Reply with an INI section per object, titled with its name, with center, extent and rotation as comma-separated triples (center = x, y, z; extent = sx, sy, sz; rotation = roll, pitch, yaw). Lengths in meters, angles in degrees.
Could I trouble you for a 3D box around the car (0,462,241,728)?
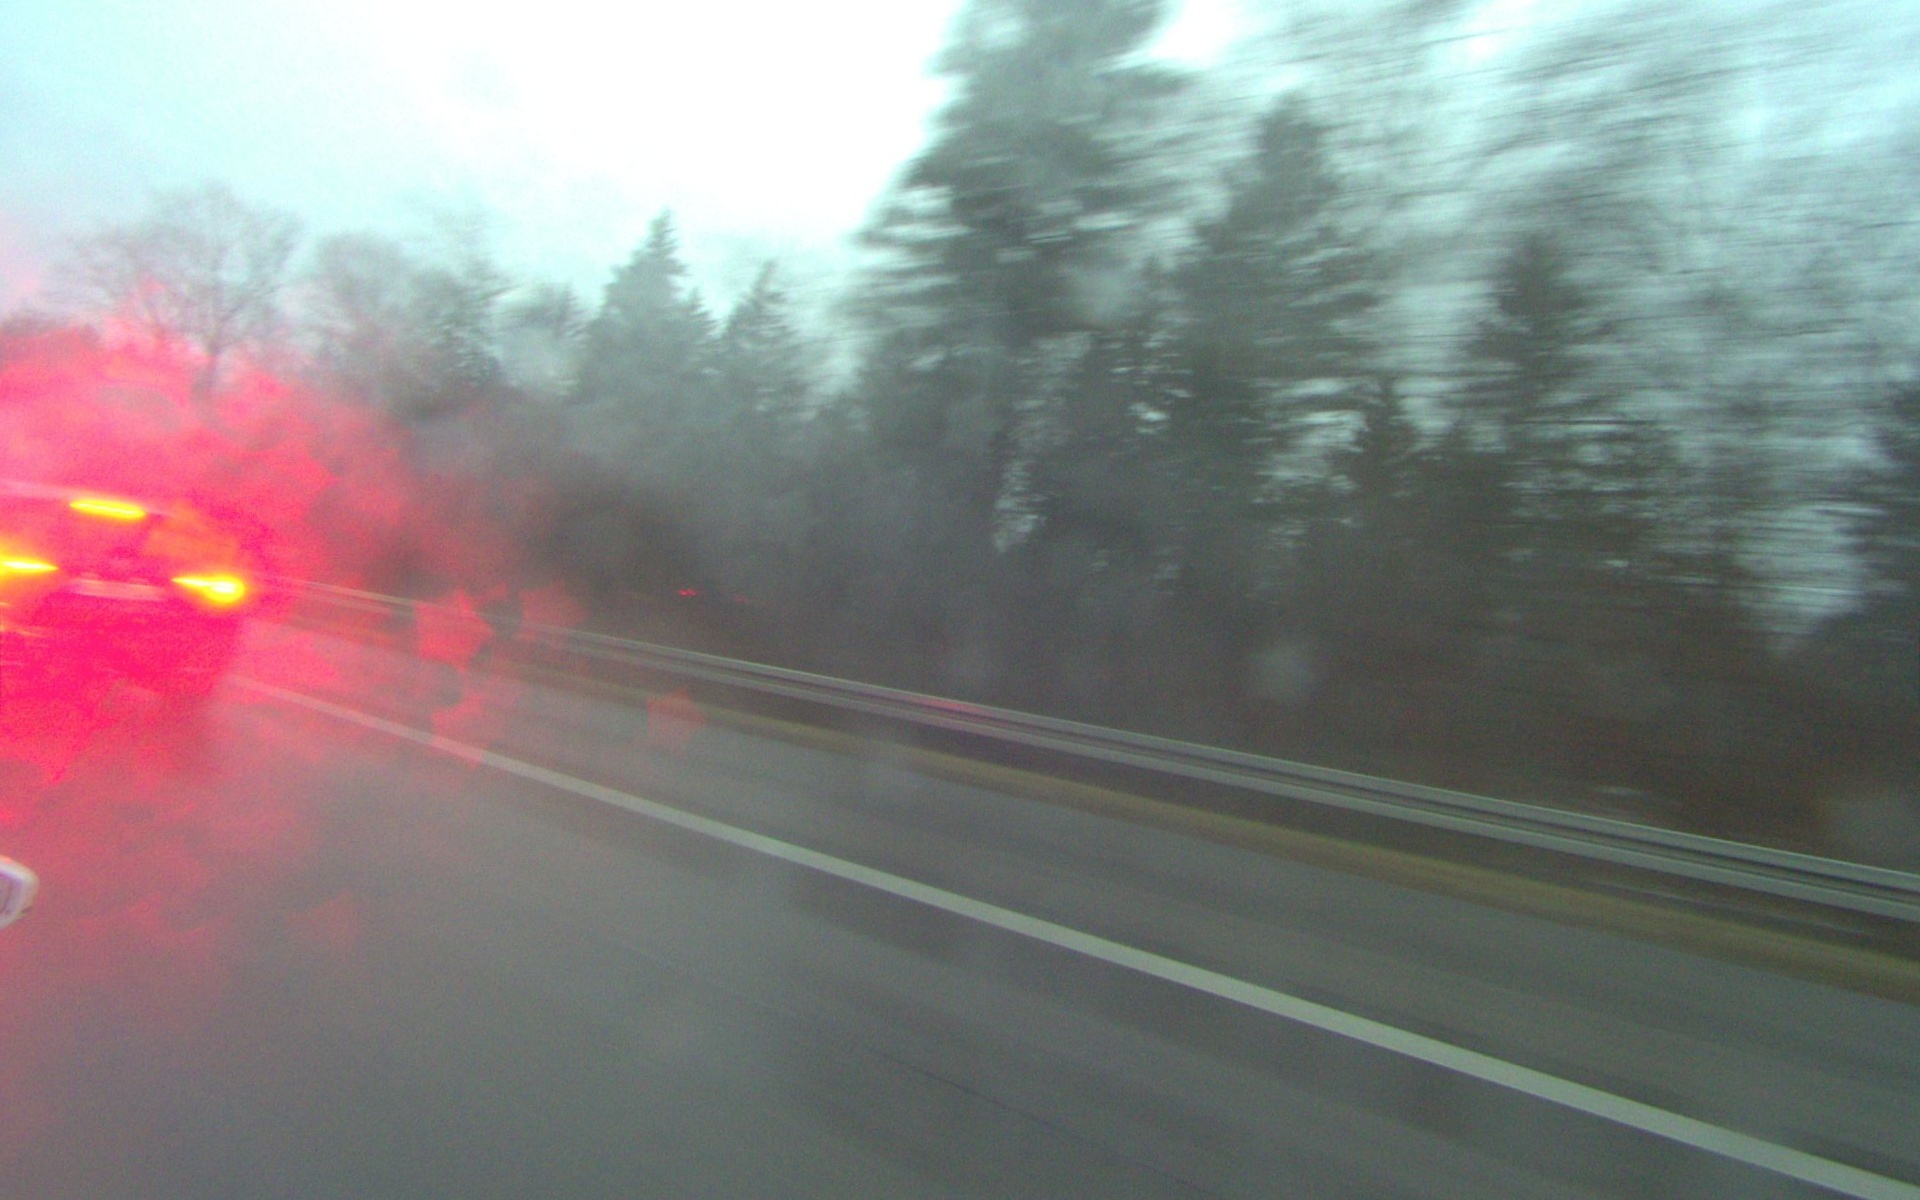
[car]
center = -8.025, -0.164, 8.252
extent = 3.875, 1.812, 1.928
rotation = 6, -2, 31
